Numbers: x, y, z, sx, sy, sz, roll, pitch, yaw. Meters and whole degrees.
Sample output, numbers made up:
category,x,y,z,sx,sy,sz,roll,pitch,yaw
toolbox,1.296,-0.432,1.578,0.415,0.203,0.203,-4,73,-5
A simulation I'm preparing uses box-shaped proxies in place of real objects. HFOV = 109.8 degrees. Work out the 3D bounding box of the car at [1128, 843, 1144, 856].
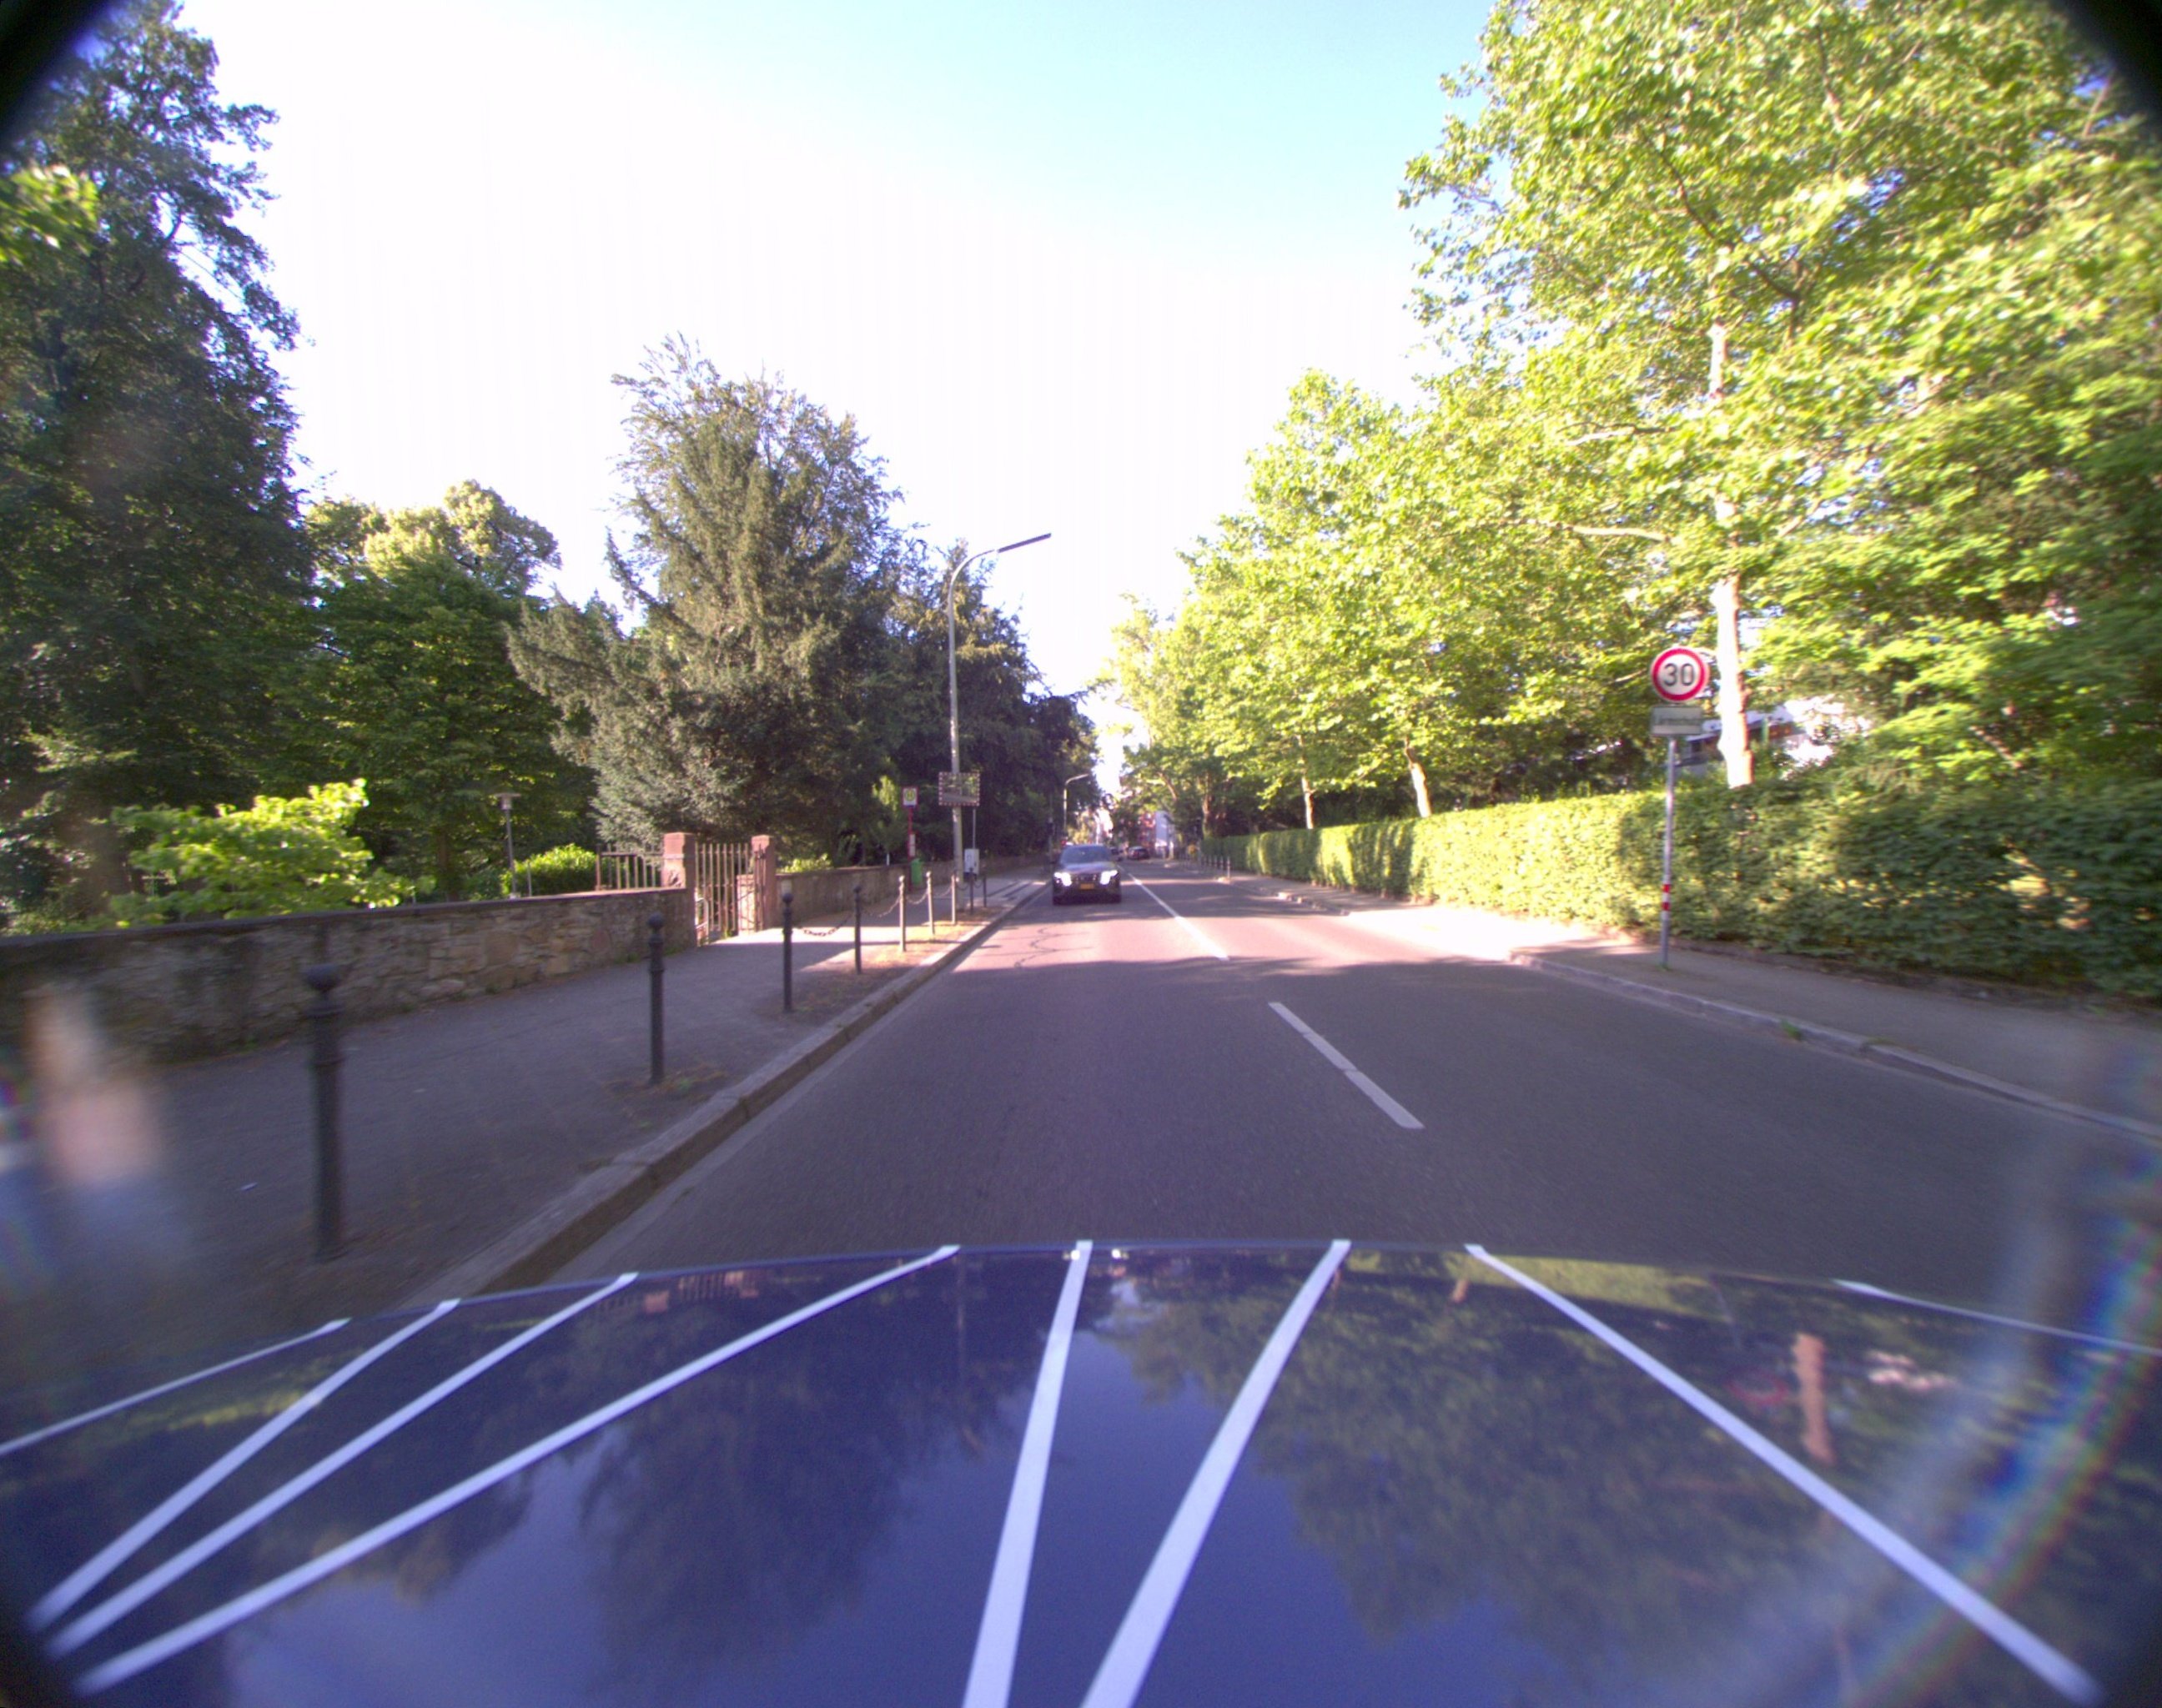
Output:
category,x,y,z,sx,sy,sz,roll,pitch,yaw
car,6.606,-0.554,91.074,1.627,1.538,3.321,-1,1,0

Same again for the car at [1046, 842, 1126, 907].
category,x,y,z,sx,sy,sz,roll,pitch,yaw
car,0.256,0.526,22.066,1.936,1.676,4.433,-1,0,5

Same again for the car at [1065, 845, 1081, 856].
category,x,y,z,sx,sy,sz,roll,pitch,yaw
car,-1.116,-0.454,103.748,1.824,1.375,3.933,2,1,-4

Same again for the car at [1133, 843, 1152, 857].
category,x,y,z,sx,sy,sz,roll,pitch,yaw
car,6.879,-0.423,85.078,1.689,1.426,3.615,-4,1,0

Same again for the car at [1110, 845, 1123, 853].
category,x,y,z,sx,sy,sz,roll,pitch,yaw
car,6.617,-1.029,141.835,1.824,1.375,3.933,2,1,-4

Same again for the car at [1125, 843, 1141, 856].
category,x,y,z,sx,sy,sz,roll,pitch,yaw
car,6.550,-0.574,95.814,1.628,1.426,3.559,-2,1,-1
